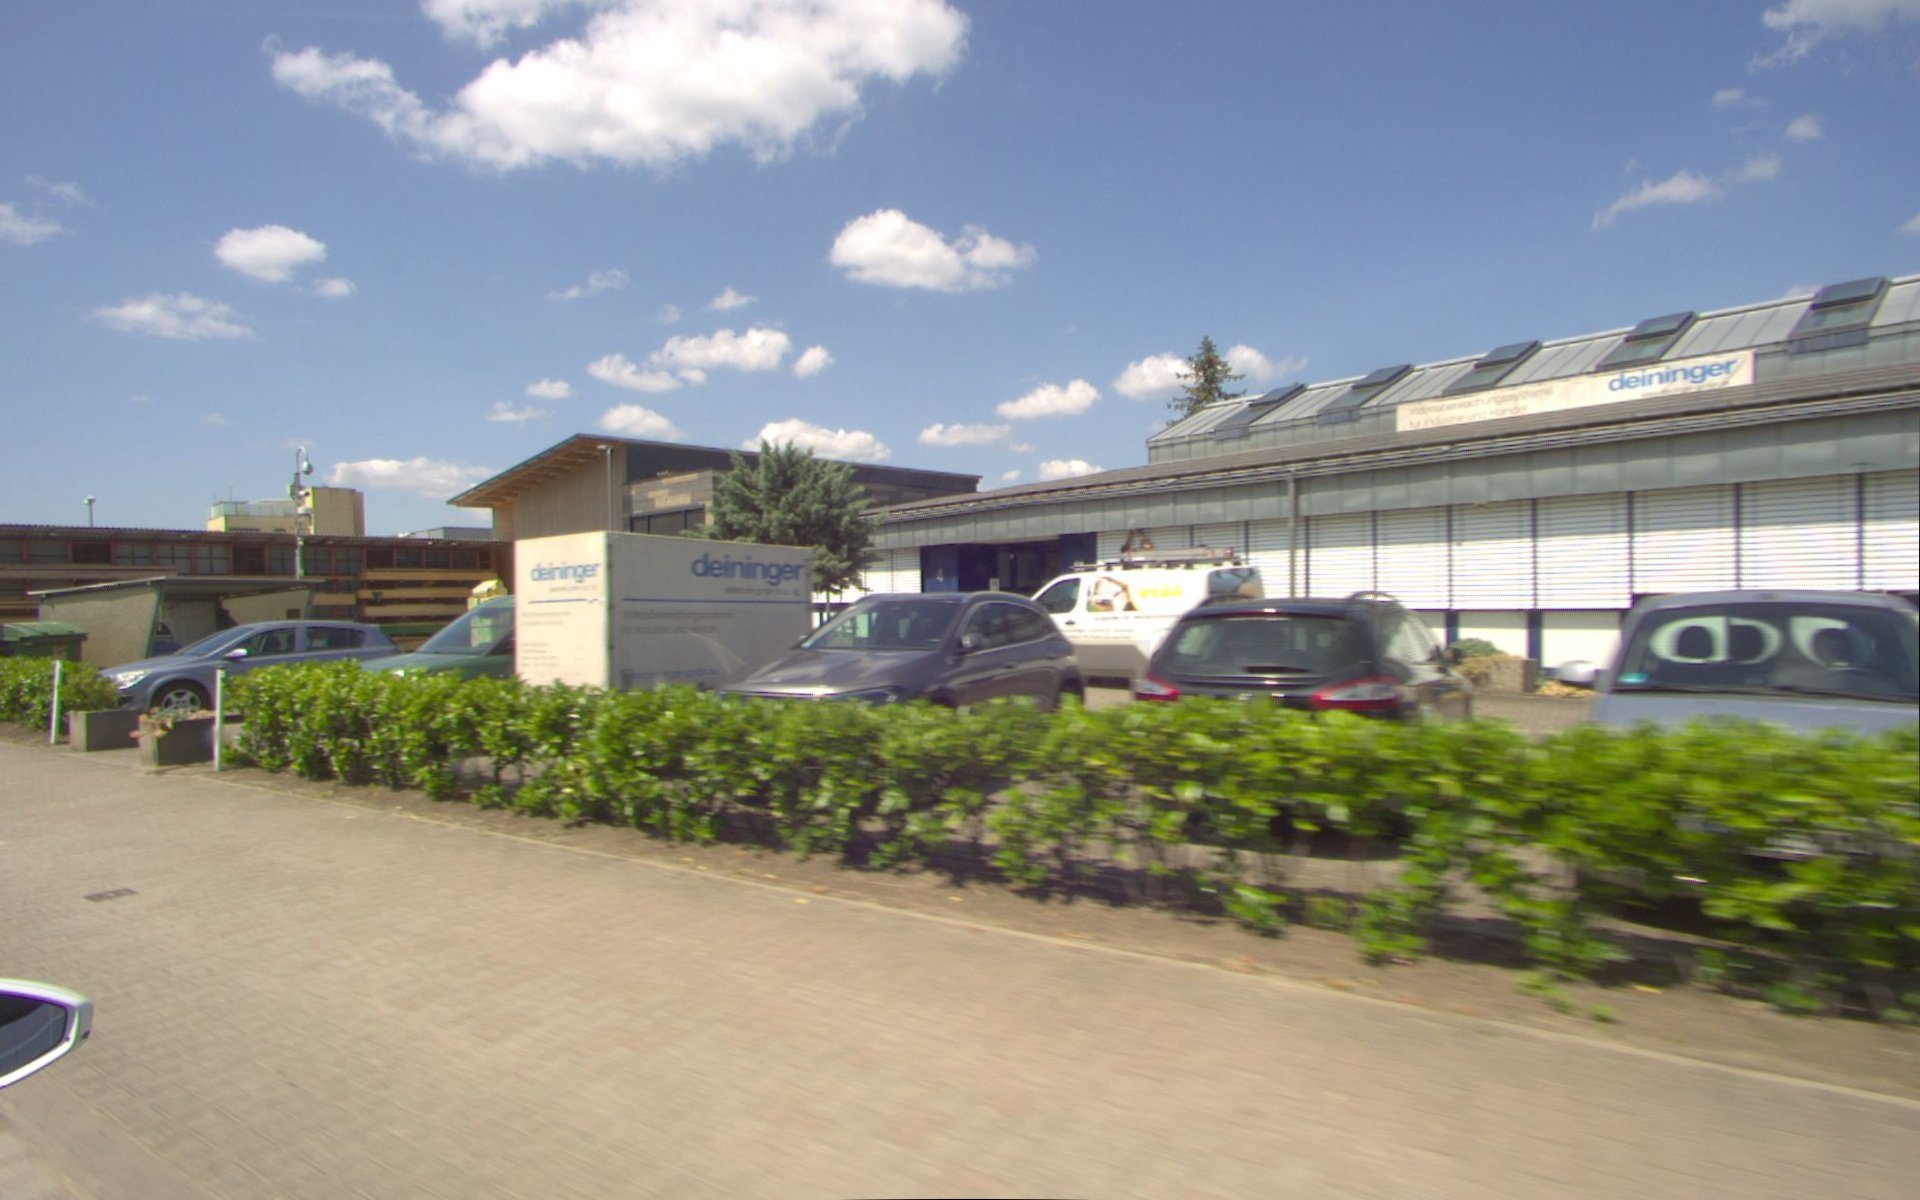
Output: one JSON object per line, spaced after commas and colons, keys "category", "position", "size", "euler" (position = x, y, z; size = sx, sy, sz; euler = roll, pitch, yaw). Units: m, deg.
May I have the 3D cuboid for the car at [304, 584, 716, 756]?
{"category": "car", "position": [-5.147, 0.702, 12.051], "size": [1.776, 1.655, 4.202], "euler": [-3, 0, 32]}

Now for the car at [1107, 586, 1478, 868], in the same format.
{"category": "car", "position": [2.786, 0.682, 7.564], "size": [1.788, 1.459, 4.468], "euler": [-1, -1, 30]}

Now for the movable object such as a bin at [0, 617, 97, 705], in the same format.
{"category": "movable object such as a bin", "position": [-16.044, 1.032, 17.393], "size": [1.029, 1.477, 1.267], "euler": [0, -1, -4]}

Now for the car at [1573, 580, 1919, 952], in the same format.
{"category": "car", "position": [4.485, 0.624, 5.341], "size": [1.747, 1.420, 3.339], "euler": [-1, 1, 37]}

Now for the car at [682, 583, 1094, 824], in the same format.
{"category": "car", "position": [-0.351, 0.698, 8.831], "size": [1.688, 1.595, 4.029], "euler": [-3, 0, 28]}

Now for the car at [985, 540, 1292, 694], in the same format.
{"category": "car", "position": [2.789, 0.246, 16.543], "size": [2.083, 2.154, 4.676], "euler": [-4, 2, -41]}

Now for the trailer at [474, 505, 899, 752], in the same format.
{"category": "trailer", "position": [-2.624, 0.256, 10.475], "size": [1.973, 2.040, 3.977], "euler": [-1, 0, 34]}

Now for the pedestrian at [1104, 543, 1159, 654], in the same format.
{"category": "pedestrian", "position": [3.142, -0.021, 18.302], "size": [0.681, 1.968, 0.714], "euler": [-3, 0, 32]}

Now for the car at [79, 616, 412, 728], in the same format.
{"category": "car", "position": [-10.880, 1.003, 15.502], "size": [1.793, 1.474, 3.835], "euler": [-1, -1, 34]}
